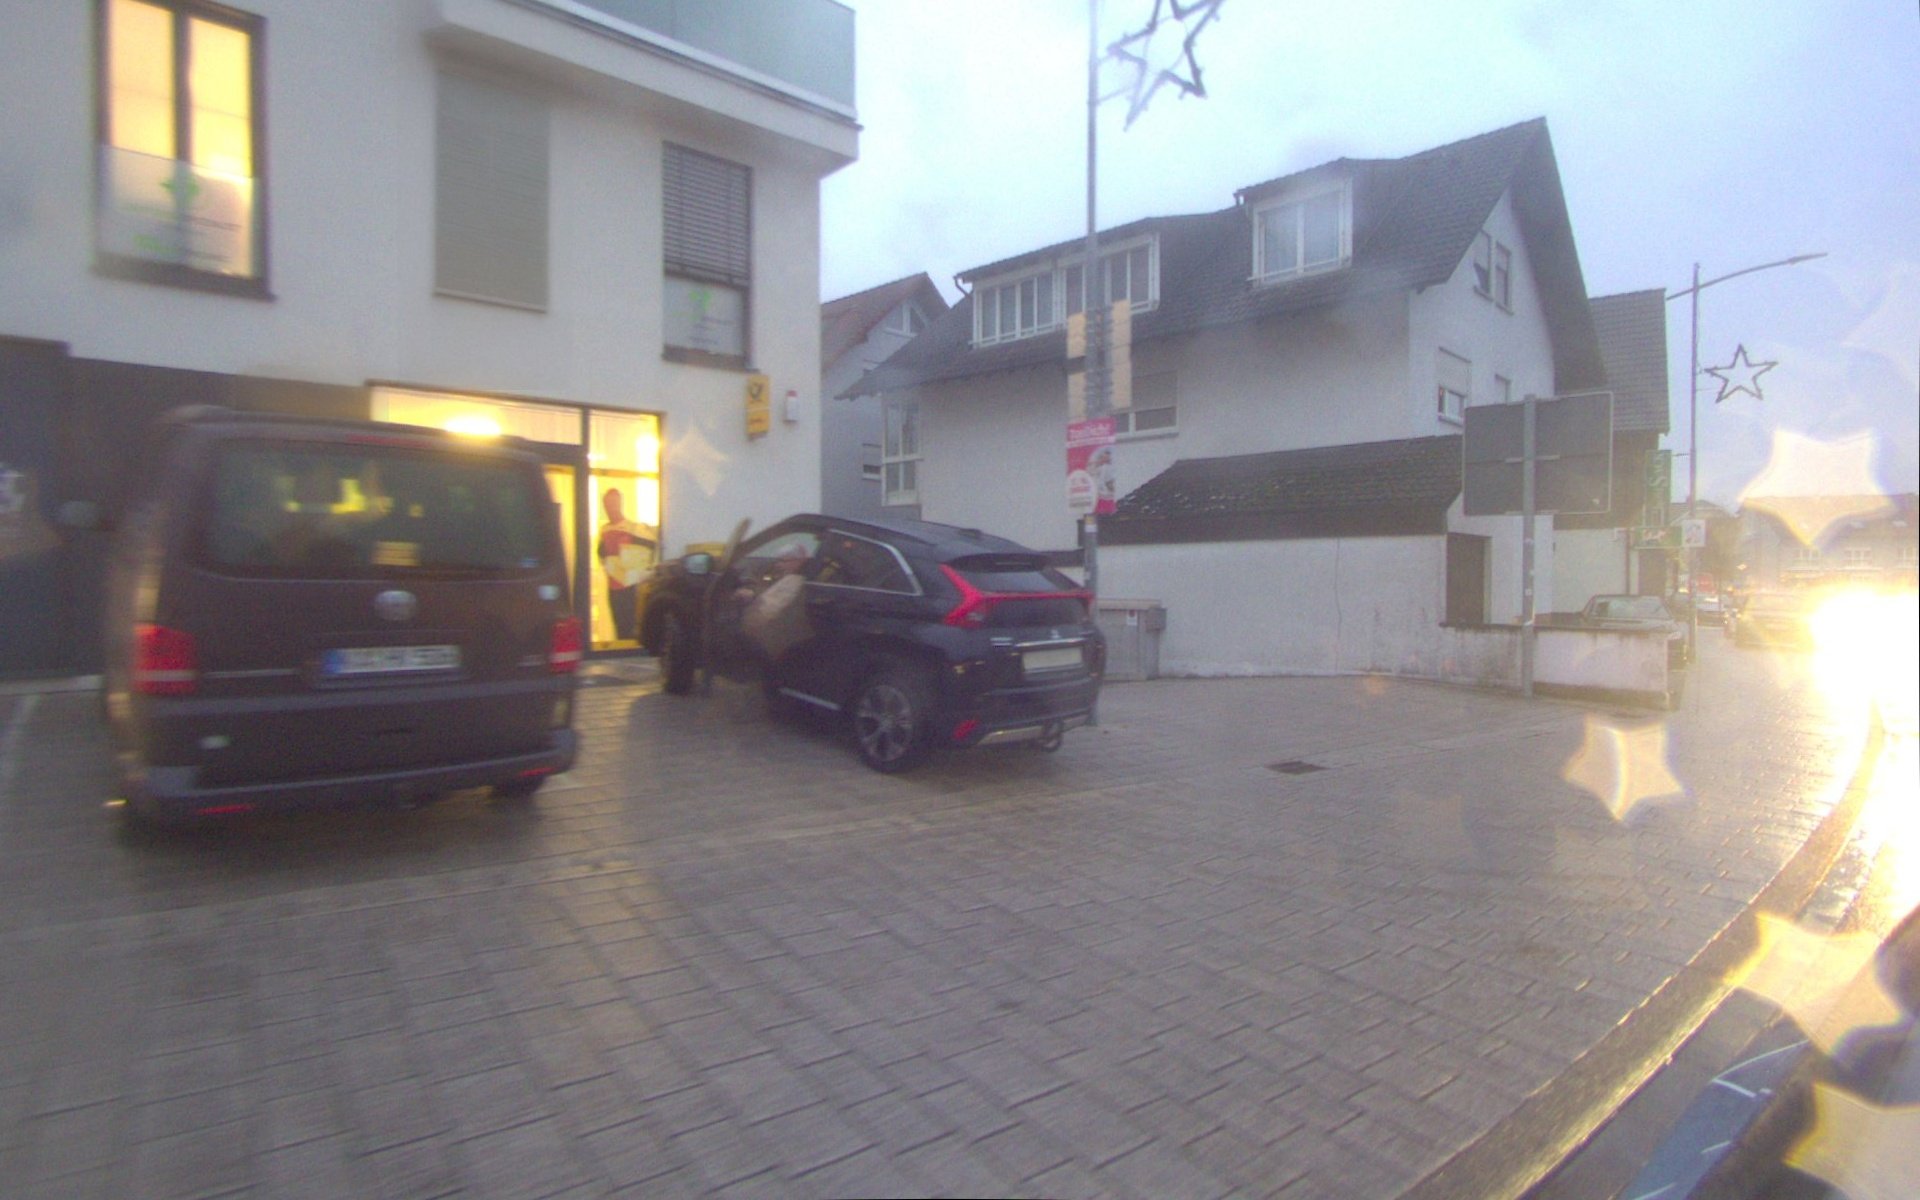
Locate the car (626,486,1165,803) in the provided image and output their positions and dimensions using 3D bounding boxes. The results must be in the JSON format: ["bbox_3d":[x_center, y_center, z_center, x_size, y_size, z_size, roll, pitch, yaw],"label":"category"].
[{"bbox_3d":[-0.719,0.115,8.052,4.178,1.658,1.777,10,7,42],"label":"car"}]

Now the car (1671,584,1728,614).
[{"bbox_3d":[42.210,-0.094,57.895,1.945,1.552,4.958,-2,0,29],"label":"car"}]

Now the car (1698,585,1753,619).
[{"bbox_3d":[36.843,0.056,48.787,1.645,1.473,4.191,3,3,31],"label":"car"}]

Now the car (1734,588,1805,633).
[{"bbox_3d":[28.253,0.341,35.386,1.640,1.433,2.694,4,2,34],"label":"car"}]

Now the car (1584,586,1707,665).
[{"bbox_3d":[14.314,0.456,21.335,1.756,1.411,3.874,3,2,29],"label":"car"}]

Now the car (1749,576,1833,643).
[{"bbox_3d":[25.068,0.239,30.607,1.767,1.803,3.944,4,3,38],"label":"car"}]

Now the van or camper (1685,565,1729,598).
[{"bbox_3d":[64.248,-1.602,87.108,2.228,2.702,6.487,1,1,30],"label":"van or camper"}]

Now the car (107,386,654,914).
[{"bbox_3d":[-3.750,-0.069,6.034,1.916,1.942,4.574,-1,7,-42],"label":"car"}]

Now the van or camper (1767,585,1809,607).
[{"bbox_3d":[54.130,-0.279,66.188,1.554,1.372,3.386,1,1,30],"label":"van or camper"}]

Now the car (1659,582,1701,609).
[{"bbox_3d":[45.415,-0.303,63.890,1.655,1.595,4.452,1,1,29],"label":"car"}]
